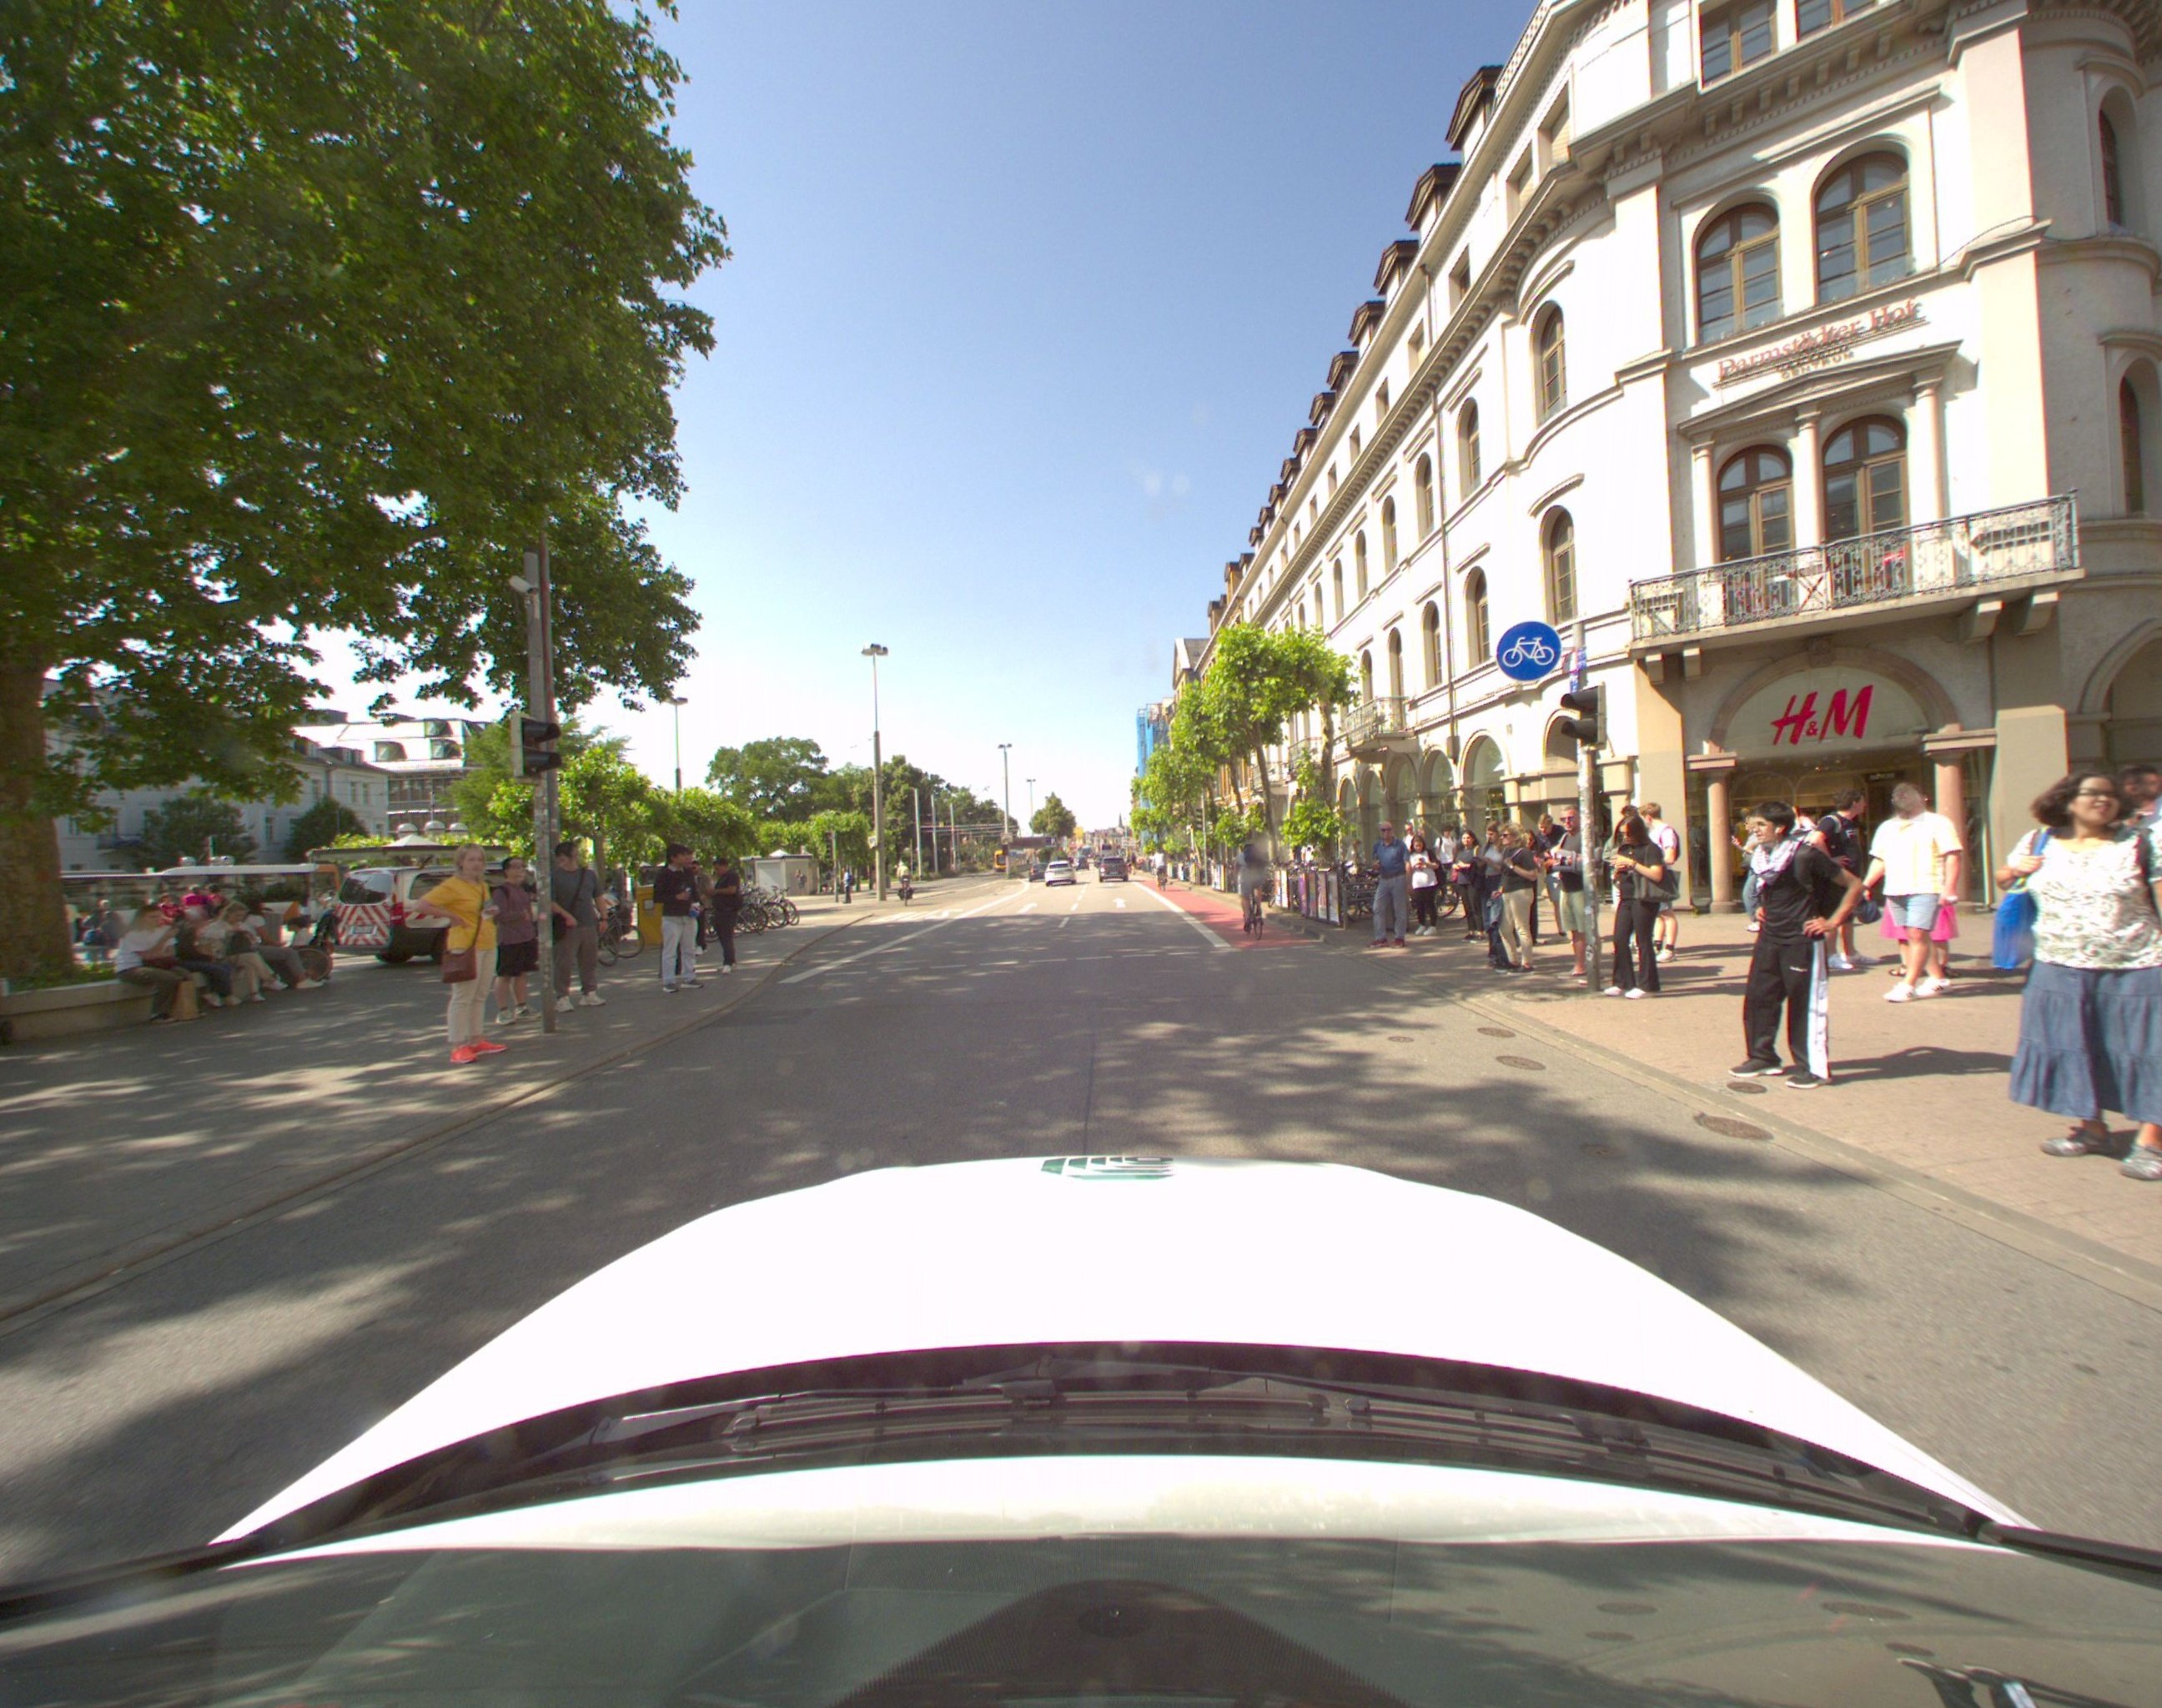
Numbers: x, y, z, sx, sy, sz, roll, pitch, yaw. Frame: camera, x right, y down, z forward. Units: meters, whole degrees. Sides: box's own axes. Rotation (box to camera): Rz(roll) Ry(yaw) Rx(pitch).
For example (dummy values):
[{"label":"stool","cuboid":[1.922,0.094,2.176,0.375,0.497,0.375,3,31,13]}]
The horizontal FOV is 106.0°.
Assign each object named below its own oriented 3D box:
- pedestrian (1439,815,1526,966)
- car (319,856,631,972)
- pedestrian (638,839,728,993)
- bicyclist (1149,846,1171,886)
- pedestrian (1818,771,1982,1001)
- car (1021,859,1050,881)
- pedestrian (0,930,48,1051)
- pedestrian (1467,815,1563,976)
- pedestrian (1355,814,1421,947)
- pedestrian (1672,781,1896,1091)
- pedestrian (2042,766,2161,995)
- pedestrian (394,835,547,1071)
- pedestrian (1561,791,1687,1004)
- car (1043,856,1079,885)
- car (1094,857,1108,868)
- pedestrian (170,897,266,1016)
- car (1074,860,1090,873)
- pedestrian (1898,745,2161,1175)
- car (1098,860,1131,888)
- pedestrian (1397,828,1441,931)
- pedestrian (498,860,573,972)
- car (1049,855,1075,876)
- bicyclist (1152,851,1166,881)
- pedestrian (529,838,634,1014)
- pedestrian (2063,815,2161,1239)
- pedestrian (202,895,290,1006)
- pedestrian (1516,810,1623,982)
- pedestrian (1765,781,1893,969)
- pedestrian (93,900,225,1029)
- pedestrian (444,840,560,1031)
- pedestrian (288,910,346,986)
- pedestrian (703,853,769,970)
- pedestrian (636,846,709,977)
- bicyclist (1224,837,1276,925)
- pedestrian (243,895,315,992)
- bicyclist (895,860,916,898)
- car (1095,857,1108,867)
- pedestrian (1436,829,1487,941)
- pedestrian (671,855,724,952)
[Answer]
[{"label":"pedestrian","cuboid":[4.793,0.427,9.761,0.581,1.700,0.605,-6,-1,-1]},{"label":"car","cuboid":[-12.020,1.074,16.634,1.843,1.955,4.787,-3,0,22]},{"label":"pedestrian","cuboid":[-4.967,0.740,10.183,0.626,1.834,0.735,-3,-1,31]},{"label":"bicyclist","cuboid":[3.358,0.495,34.693,0.771,1.635,0.851,-3,0,1]},{"label":"pedestrian","cuboid":[6.832,0.254,6.827,0.608,1.807,0.677,-2,-1,-1]},{"label":"car","cuboid":[-3.473,1.178,62.936,1.839,1.560,4.000,-2,0,1]},{"label":"pedestrian","cuboid":[-10.796,1.351,7.979,0.627,1.144,0.669,-3,-1,22]},{"label":"pedestrian","cuboid":[4.771,0.443,8.986,0.581,1.673,0.605,-6,-1,-1]},{"label":"pedestrian","cuboid":[4.567,0.386,12.103,0.681,1.898,0.615,-6,-1,28]},{"label":"pedestrian","cuboid":[4.333,0.476,5.073,0.608,1.739,0.677,-7,-1,-1]},{"label":"pedestrian","cuboid":[7.900,0.166,6.100,0.608,1.618,0.678,-2,2,-1]},{"label":"pedestrian","cuboid":[-4.956,0.760,6.638,0.627,1.794,0.735,-3,-1,22]},{"label":"pedestrian","cuboid":[4.905,0.379,7.397,0.608,1.823,0.677,-2,-1,-1]},{"label":"car","cuboid":[-1.178,0.988,49.876,1.839,1.560,4.002,-3,0,2]},{"label":"car","cuboid":[2.792,1.134,113.409,1.839,1.413,4.000,-2,0,1]},{"label":"pedestrian","cuboid":[-10.934,1.268,10.347,0.663,1.386,0.658,-2,-1,-32]},{"label":"car","cuboid":[0.132,1.605,103.921,1.839,1.560,4.000,-2,0,1]},{"label":"pedestrian","cuboid":[4.520,0.436,3.761,0.608,1.759,0.677,-7,-1,-1]},{"label":"car","cuboid":[2.048,1.208,50.517,1.839,1.559,4.000,-1,0,0]},{"label":"pedestrian","cuboid":[5.446,0.397,13.094,0.525,1.594,0.615,-3,3,28]},{"label":"pedestrian","cuboid":[-9.041,1.002,13.513,0.671,1.764,0.771,-3,-1,31]},{"label":"car","cuboid":[-1.428,0.867,63.168,1.839,1.560,4.000,-2,0,1]},{"label":"bicyclist","cuboid":[4.145,0.612,43.323,0.645,1.551,0.818,-2,0,1]},{"label":"pedestrian","cuboid":[-5.562,0.764,9.083,0.626,1.859,0.735,-3,-1,31]},{"label":"pedestrian","cuboid":[4.150,0.613,2.779,0.608,1.515,0.677,-7,-1,-1]},{"label":"pedestrian","cuboid":[-11.238,1.267,10.986,0.663,1.386,0.658,-2,-1,-32]},{"label":"pedestrian","cuboid":[5.054,0.421,8.462,0.581,1.673,0.605,-6,-1,-1]},{"label":"pedestrian","cuboid":[7.630,0.210,8.339,0.608,1.823,0.677,-2,-1,-1]},{"label":"pedestrian","cuboid":[-10.727,1.259,9.497,0.729,1.386,0.664,-2,-1,-6]},{"label":"pedestrian","cuboid":[-5.951,0.794,8.381,0.626,1.859,0.735,-3,-1,31]},{"label":"pedestrian","cuboid":[-11.920,1.454,12.720,0.633,1.094,0.504,-2,-1,-42]},{"label":"pedestrian","cuboid":[-5.108,0.841,12.073,0.611,1.668,0.596,-3,-1,31]},{"label":"pedestrian","cuboid":[-5.920,0.811,11.805,0.611,1.823,0.668,-3,-1,31]},{"label":"bicyclist","cuboid":[3.000,0.458,14.534,0.628,1.481,1.198,-2,0,1]},{"label":"pedestrian","cuboid":[-11.875,1.303,12.075,0.708,1.348,0.504,-2,-1,-42]},{"label":"bicyclist","cuboid":[-7.277,1.018,33.737,0.738,1.502,1.049,-2,0,-9]},{"label":"car","cuboid":[3.090,1.210,123.514,1.839,1.413,4.000,-2,0,1]},{"label":"pedestrian","cuboid":[5.616,0.447,11.998,0.525,1.595,0.615,-5,-2,28]},{"label":"pedestrian","cuboid":[-7.103,0.900,15.112,0.608,1.724,0.677,-2,-1,-1]}]
